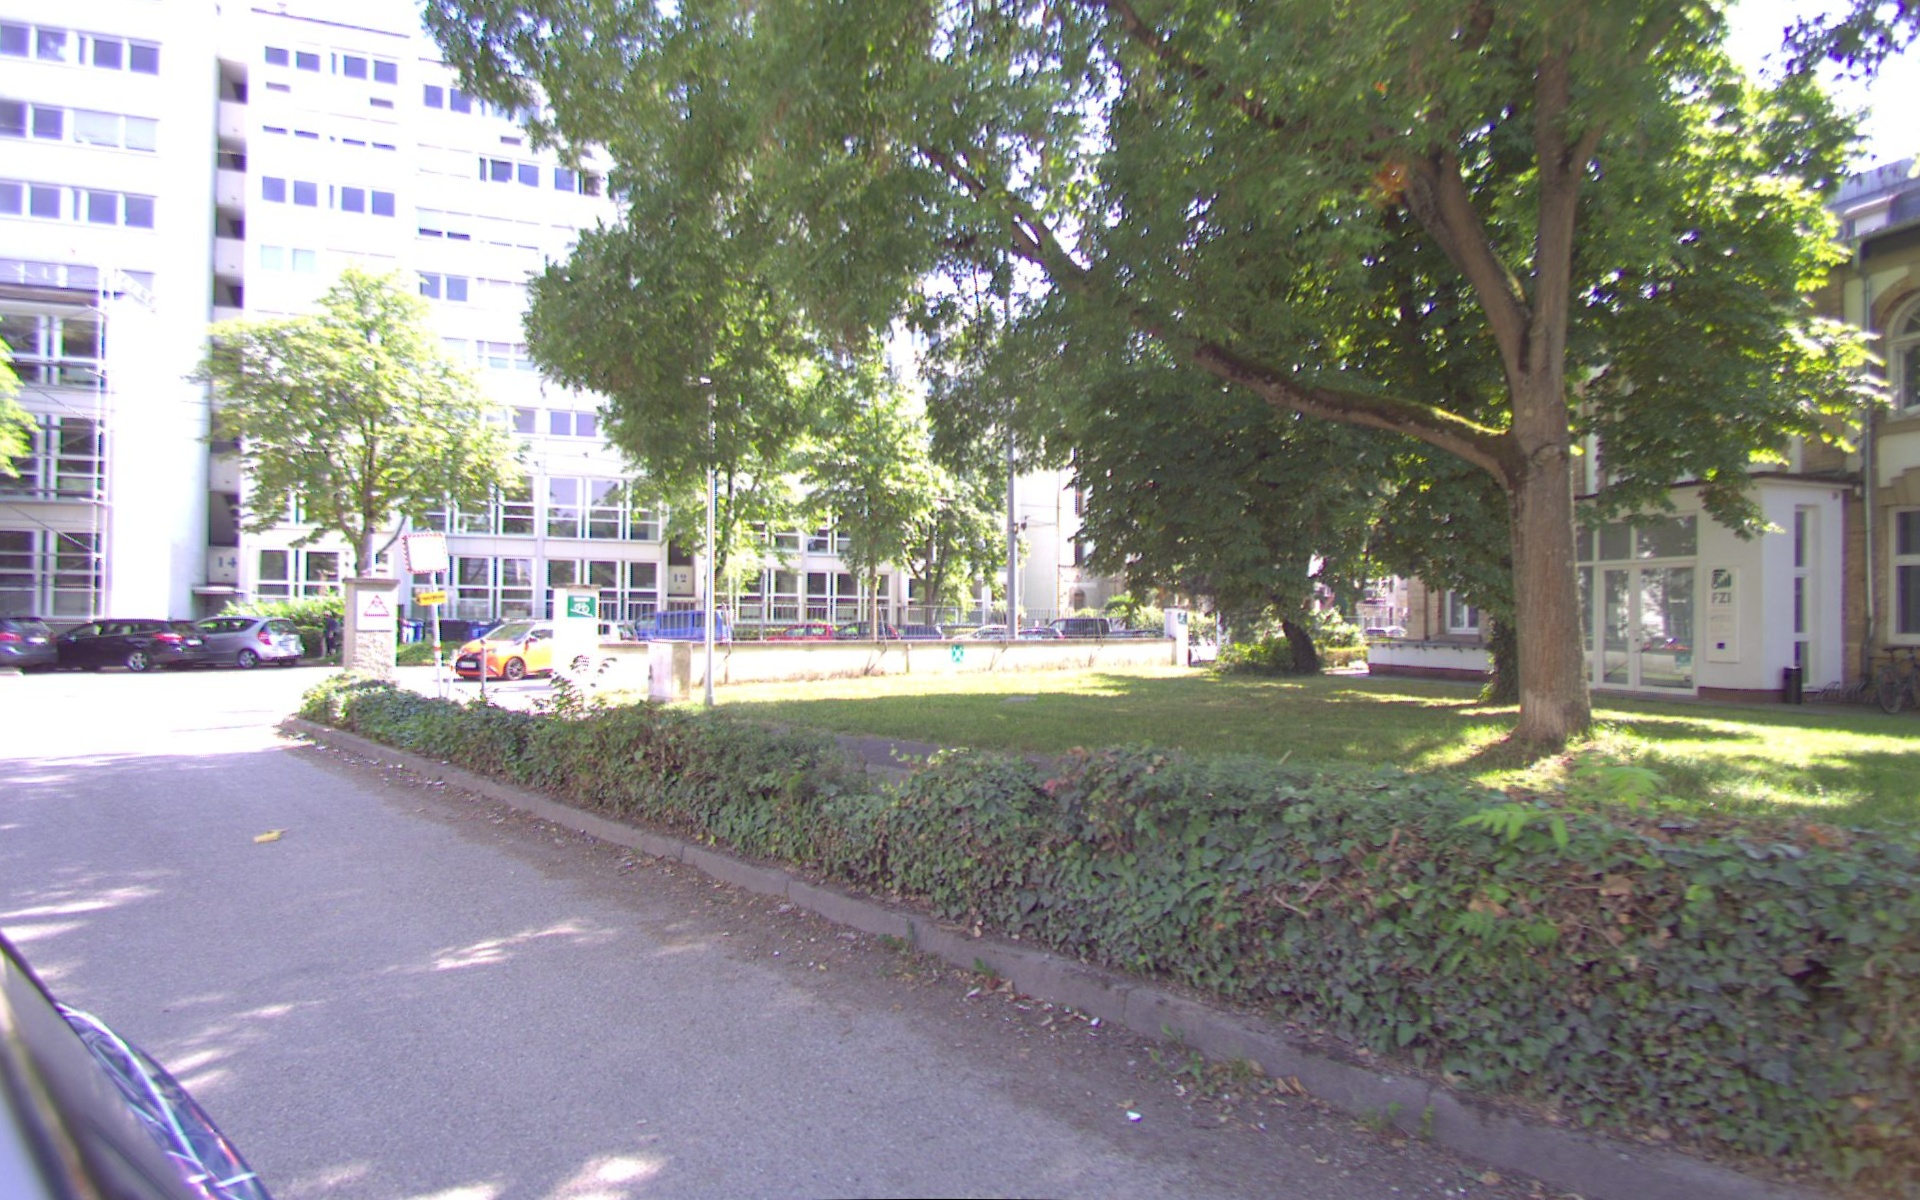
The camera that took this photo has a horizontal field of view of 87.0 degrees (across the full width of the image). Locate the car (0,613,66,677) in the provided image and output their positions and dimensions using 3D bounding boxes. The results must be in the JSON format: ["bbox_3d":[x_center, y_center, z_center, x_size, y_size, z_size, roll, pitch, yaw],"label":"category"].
[{"bbox_3d":[-25.609,1.120,25.584,4.326,1.577,1.809,0,-1,-2],"label":"car"}]

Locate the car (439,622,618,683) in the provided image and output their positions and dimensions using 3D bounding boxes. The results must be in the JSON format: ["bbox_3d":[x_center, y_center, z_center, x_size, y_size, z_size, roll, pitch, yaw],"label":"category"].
[{"bbox_3d":[-10.868,1.303,25.792,1.653,1.423,4.138,-2,-2,26],"label":"car"}]

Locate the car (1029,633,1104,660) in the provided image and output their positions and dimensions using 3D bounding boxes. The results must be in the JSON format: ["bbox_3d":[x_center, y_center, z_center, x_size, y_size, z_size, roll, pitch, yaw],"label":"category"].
[{"bbox_3d":[5.866,2.585,56.200,3.944,1.428,1.785,0,-2,1],"label":"car"}]

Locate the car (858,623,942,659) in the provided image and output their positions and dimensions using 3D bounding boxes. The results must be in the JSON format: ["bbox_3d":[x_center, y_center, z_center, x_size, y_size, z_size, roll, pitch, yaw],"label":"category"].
[{"bbox_3d":[-2.832,1.982,48.539,3.942,1.652,1.833,-1,-2,-1],"label":"car"}]

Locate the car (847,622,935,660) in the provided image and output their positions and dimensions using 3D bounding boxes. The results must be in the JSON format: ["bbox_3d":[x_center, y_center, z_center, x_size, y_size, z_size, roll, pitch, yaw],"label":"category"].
[{"bbox_3d":[-3.133,1.851,46.240,3.942,1.652,1.804,-1,-2,-1],"label":"car"}]

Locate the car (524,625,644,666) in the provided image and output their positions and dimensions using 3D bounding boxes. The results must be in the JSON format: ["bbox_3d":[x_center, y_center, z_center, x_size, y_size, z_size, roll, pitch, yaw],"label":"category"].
[{"bbox_3d":[-13.818,1.651,37.236,3.808,1.474,1.704,0,-2,11],"label":"car"}]

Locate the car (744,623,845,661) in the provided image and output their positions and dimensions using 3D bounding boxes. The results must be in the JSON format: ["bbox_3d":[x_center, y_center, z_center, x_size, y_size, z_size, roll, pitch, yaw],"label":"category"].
[{"bbox_3d":[-7.170,1.826,44.053,4.159,1.550,1.783,-1,-2,-1],"label":"car"}]

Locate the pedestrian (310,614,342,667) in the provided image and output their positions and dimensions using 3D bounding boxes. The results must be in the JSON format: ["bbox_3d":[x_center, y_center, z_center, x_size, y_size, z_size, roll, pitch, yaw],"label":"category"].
[{"bbox_3d":[-21.778,1.395,34.779,0.732,1.790,0.742,-2,-2,43],"label":"pedestrian"}]

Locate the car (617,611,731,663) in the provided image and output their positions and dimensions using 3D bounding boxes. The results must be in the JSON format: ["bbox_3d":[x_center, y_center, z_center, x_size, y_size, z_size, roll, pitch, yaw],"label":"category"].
[{"bbox_3d":[-11.091,1.443,39.440,3.942,1.921,1.787,-1,-2,-1],"label":"car"}]

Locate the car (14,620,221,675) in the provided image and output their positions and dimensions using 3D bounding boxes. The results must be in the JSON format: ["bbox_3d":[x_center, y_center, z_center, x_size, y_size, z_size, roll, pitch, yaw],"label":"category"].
[{"bbox_3d":[-23.171,1.296,27.957,4.122,1.487,1.803,0,-2,-4],"label":"car"}]

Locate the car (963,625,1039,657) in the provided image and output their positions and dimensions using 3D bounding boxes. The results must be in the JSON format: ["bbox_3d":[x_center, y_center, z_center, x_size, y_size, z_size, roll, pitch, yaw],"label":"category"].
[{"bbox_3d":[2.184,2.159,53.699,3.947,1.674,1.828,0,-2,3],"label":"car"}]

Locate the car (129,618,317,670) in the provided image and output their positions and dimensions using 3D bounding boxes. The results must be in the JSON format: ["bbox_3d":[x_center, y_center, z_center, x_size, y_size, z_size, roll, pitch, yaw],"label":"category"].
[{"bbox_3d":[-21.872,1.307,30.164,4.278,1.497,1.802,0,-2,-1],"label":"car"}]

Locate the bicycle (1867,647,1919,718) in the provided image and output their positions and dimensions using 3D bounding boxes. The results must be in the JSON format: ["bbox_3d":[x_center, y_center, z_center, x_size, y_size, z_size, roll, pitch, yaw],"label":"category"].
[{"bbox_3d":[14.286,1.220,15.101,1.514,1.000,0.447,2,-1,-19],"label":"bicycle"}]
